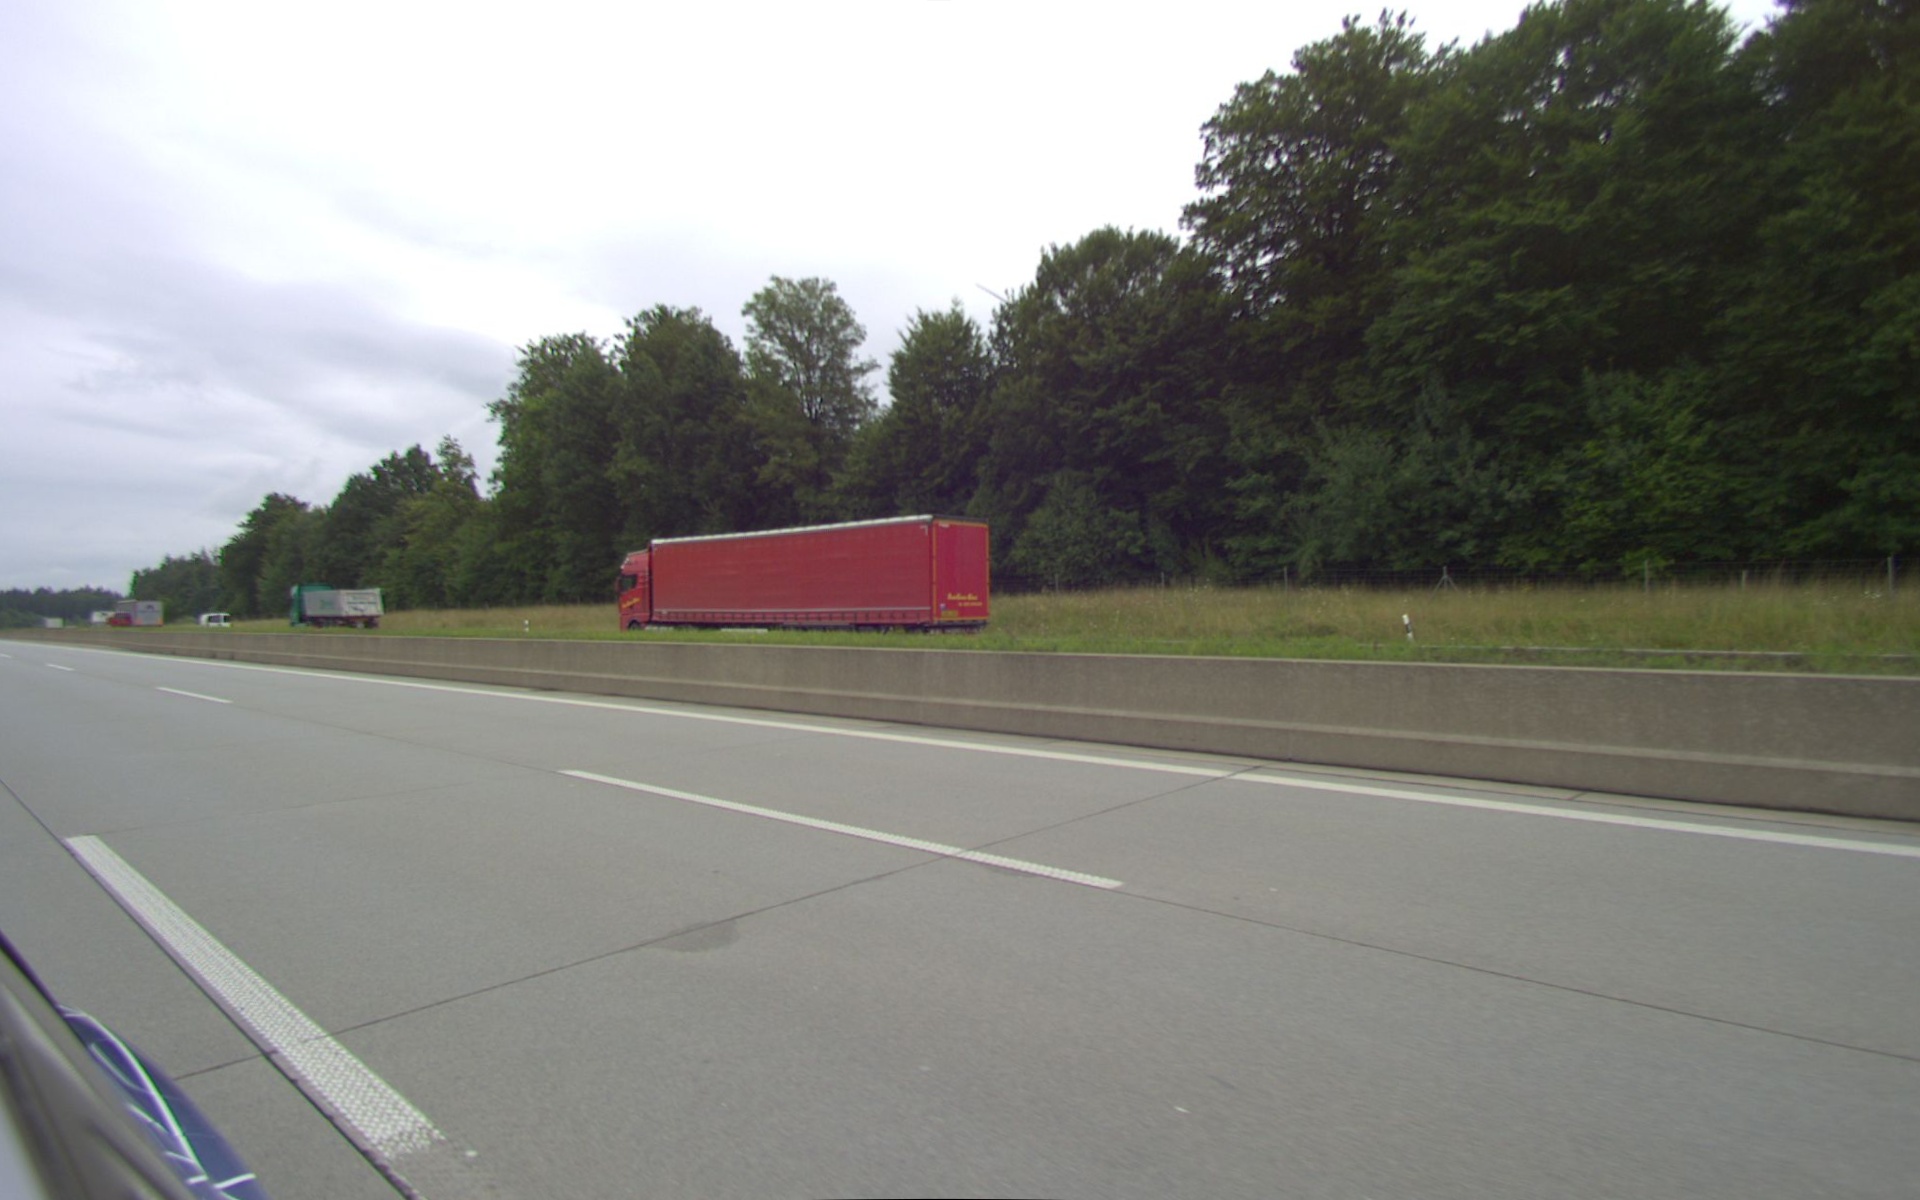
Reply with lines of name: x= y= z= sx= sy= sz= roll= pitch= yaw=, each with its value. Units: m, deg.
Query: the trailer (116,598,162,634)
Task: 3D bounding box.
trailer: x=-99.465 y=1.932 z=122.431 sx=13.976 sy=4.134 sz=2.470 roll=-1 pitch=-1 yaw=43

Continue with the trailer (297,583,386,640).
trailer: x=-42.782 y=0.832 z=69.807 sx=9.010 sy=3.728 sz=2.774 roll=-2 pitch=-1 yaw=42

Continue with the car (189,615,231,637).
car: x=-57.369 y=2.016 z=77.431 sx=4.560 sy=1.611 sz=1.761 roll=-2 pitch=-1 yaw=43

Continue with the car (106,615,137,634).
car: x=-88.718 y=2.580 z=107.056 sx=5.315 sy=1.896 sz=1.971 roll=-1 pitch=0 yaw=44

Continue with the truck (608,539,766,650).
truck: x=-10.751 y=-0.124 z=39.446 sx=6.945 sy=3.958 sz=2.526 roll=-2 pitch=-1 yaw=42

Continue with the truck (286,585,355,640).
truck: x=-45.953 y=0.931 z=72.676 sx=5.659 sy=3.768 sz=2.751 roll=-2 pitch=-1 yaw=42

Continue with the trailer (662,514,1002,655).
trailer: x=-4.986 y=-0.294 z=34.272 sx=14.374 sy=3.974 sz=2.580 roll=-2 pitch=-1 yaw=42

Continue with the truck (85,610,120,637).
truck: x=-94.506 y=2.598 z=111.537 sx=6.512 sy=2.809 sz=2.243 roll=-1 pitch=-1 yaw=44
